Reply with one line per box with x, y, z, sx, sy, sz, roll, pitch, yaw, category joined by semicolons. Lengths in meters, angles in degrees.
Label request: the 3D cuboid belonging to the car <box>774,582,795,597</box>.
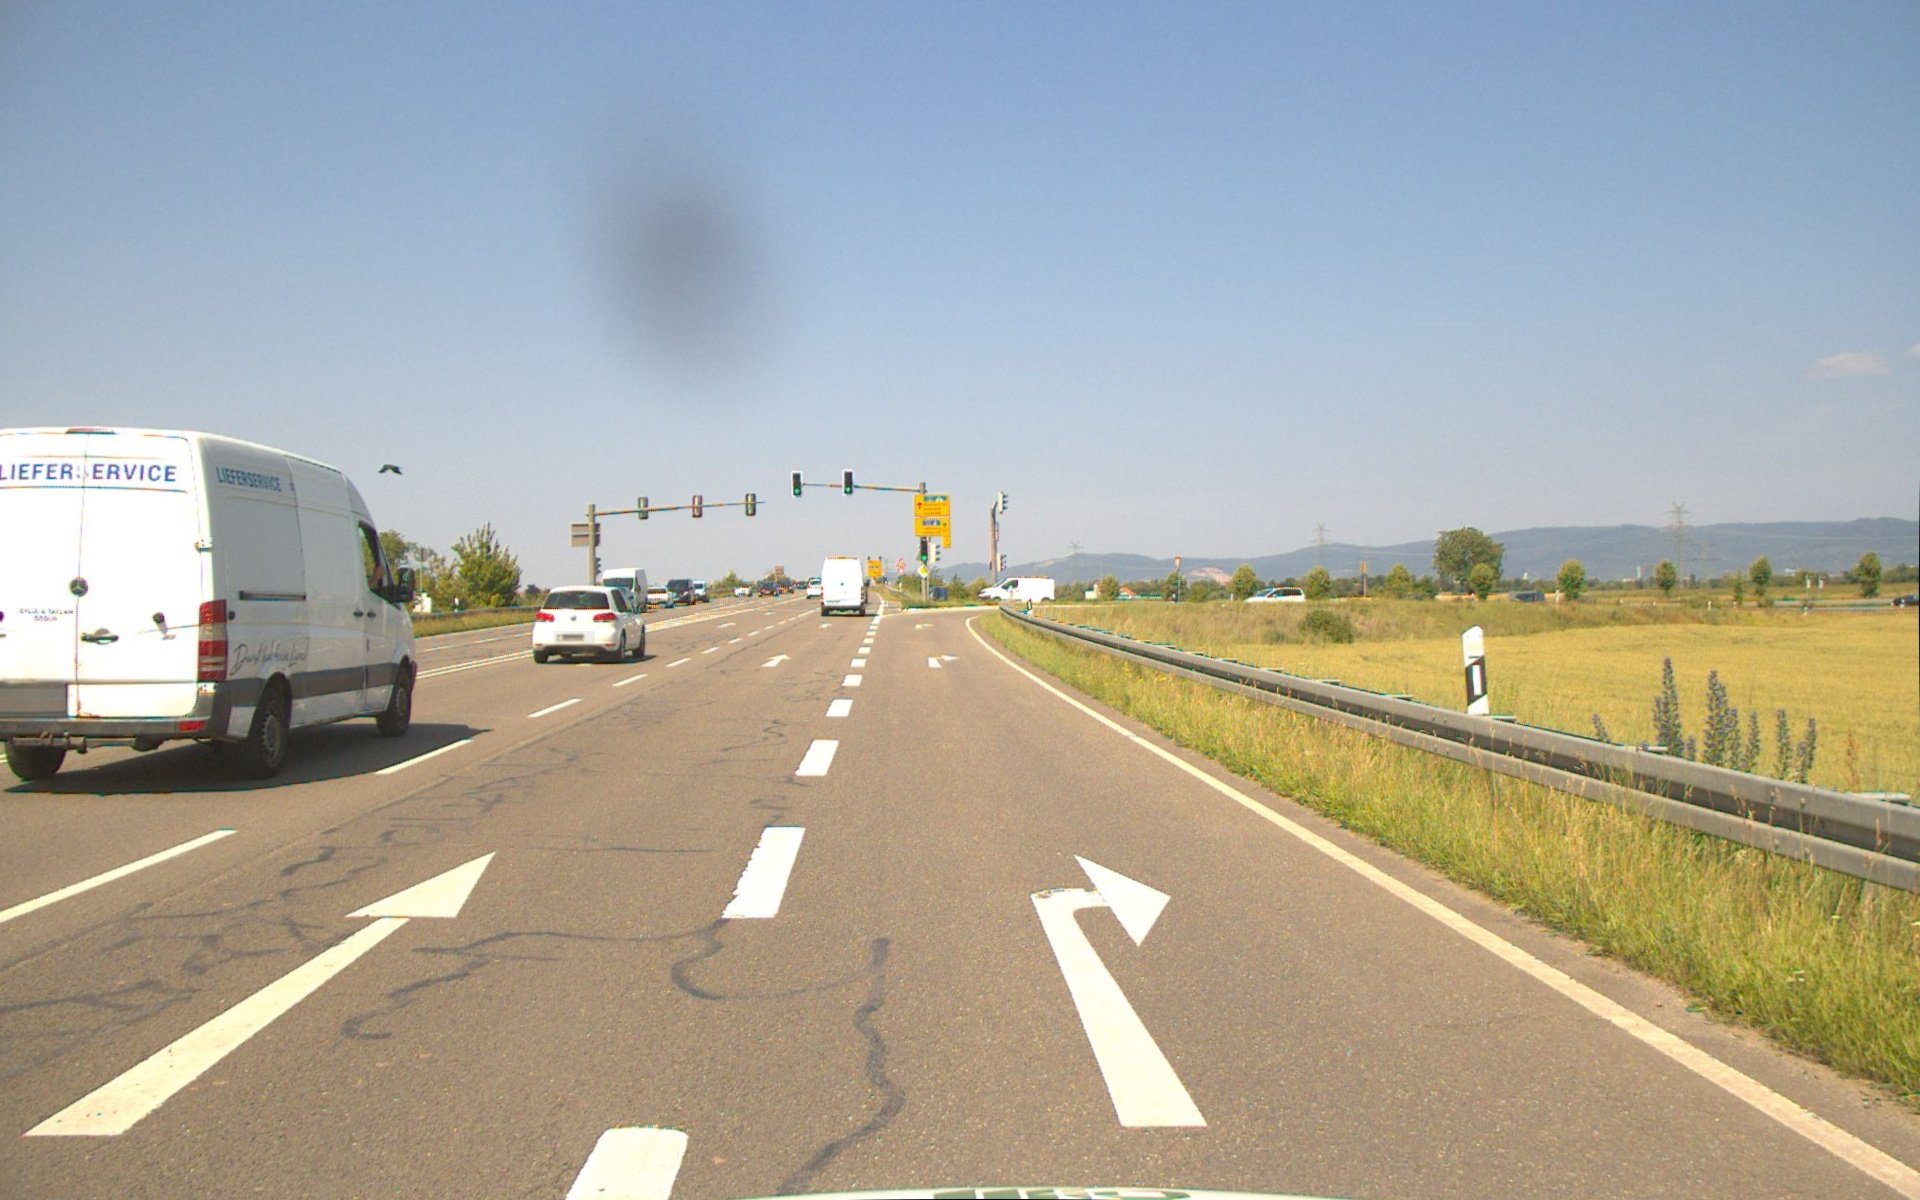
-21.119;-1.250;199.173;1.952;1.646;4.000;1;-1;1;car

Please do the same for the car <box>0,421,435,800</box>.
-6.401;0.050;14.537;1.998;2.666;5.738;0;0;-3;car

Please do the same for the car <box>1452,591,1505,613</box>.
36.209;0.152;115.541;3.431;1.512;1.635;1;-1;-27;car

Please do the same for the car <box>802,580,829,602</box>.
-11.818;-0.740;135.446;1.953;1.733;4.273;1;-1;-2;car

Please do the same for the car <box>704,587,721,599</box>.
-26.796;-0.761;178.995;1.433;1.296;3.331;0;-1;-1;car

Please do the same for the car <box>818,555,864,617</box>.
-5.358;-0.612;74.753;1.954;2.742;4.967;0;0;-3;car

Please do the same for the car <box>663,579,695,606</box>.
-20.577;-0.536;121.174;1.835;1.920;3.331;0;-1;-2;car

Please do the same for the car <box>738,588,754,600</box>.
-23.409;-0.685;181.077;1.433;1.296;3.331;0;-1;-1;car

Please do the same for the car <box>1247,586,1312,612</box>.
21.557;-0.050;111.497;3.938;1.713;1.983;1;-1;-26;car

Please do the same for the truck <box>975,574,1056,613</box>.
3.515;-0.374;104.630;4.767;2.361;1.990;1;-1;-17;truck

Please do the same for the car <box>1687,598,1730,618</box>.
60.616;0.647;133.909;3.441;1.512;1.631;1;-1;-33;car

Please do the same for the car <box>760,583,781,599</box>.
-19.060;-0.938;166.377;1.601;1.512;4.000;1;-1;0;car

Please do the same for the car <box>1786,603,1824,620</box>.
78.023;1.074;152.655;3.441;1.512;1.631;1;-1;-33;car

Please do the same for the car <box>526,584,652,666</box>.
-7.387;0.447;33.309;1.763;1.534;4.194;0;0;-3;car

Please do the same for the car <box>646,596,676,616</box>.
-19.450;0.415;107.822;1.433;1.296;3.331;0;-1;-1;car

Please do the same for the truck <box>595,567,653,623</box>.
-18.650;-0.225;92.084;2.250;3.009;5.281;0;-1;-1;truck

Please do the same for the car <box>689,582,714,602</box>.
-21.287;-0.646;136.279;1.570;1.609;3.331;0;-1;-1;car
